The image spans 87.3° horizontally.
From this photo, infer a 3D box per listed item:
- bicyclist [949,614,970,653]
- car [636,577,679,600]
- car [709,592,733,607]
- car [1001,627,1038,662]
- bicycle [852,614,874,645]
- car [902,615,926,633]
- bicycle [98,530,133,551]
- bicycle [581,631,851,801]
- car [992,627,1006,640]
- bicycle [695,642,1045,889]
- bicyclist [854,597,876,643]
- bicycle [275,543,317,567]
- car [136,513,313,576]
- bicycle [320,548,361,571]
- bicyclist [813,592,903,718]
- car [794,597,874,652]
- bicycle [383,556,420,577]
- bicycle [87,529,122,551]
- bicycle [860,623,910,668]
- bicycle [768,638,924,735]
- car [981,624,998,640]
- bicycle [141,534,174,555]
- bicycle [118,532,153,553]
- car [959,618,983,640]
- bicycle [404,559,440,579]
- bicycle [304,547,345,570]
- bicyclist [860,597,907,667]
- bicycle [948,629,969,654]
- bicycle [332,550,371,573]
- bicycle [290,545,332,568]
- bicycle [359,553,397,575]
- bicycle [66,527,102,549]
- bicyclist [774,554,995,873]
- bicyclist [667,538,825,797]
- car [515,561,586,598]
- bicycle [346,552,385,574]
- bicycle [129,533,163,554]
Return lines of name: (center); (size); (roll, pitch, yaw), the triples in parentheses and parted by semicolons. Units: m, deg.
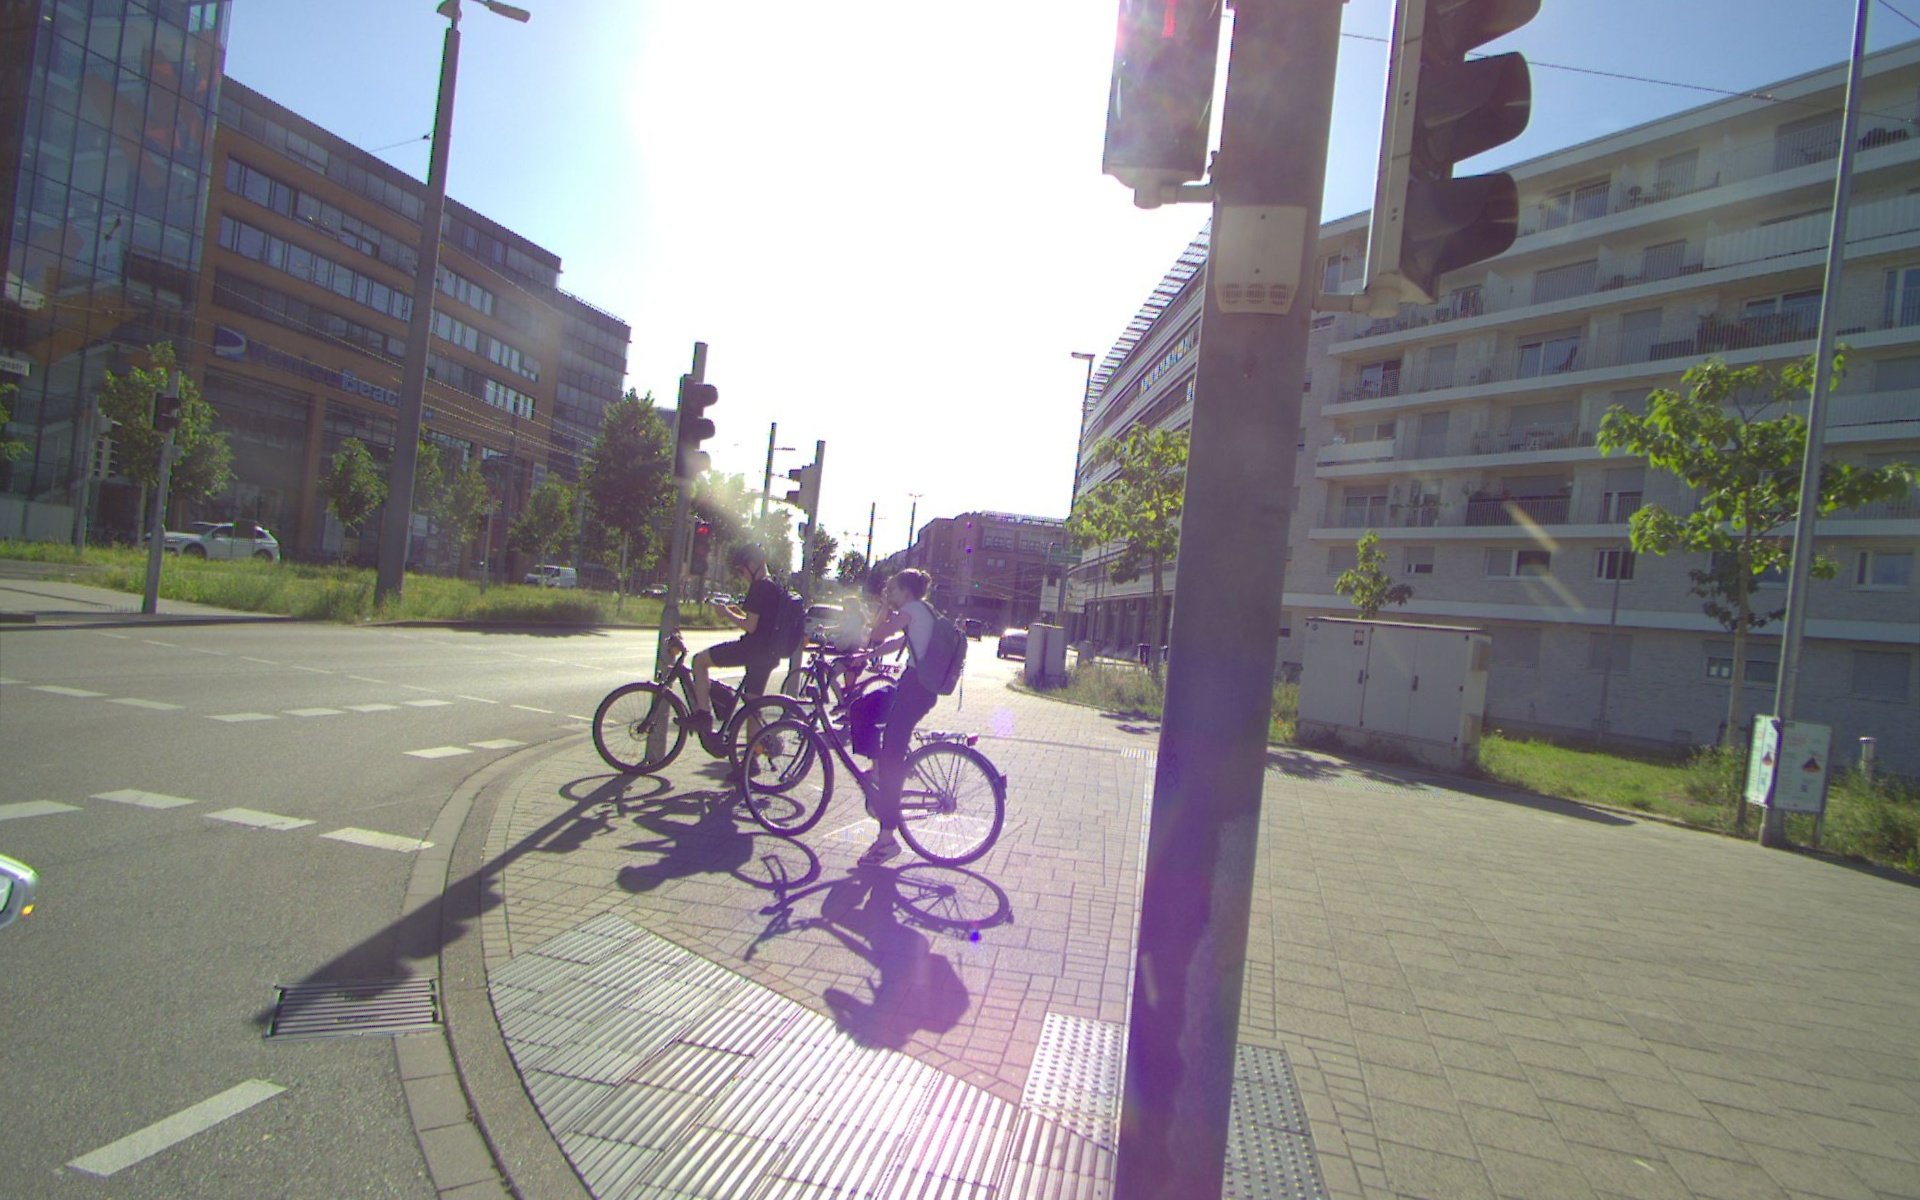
bicyclist: (-0.020, 1.631, 48.920); (0.639, 1.774, 1.046); (6, 1, 10)
car: (-28.048, -1.046, 93.510); (1.962, 1.701, 4.542); (7, -1, 8)
car: (-25.411, -0.077, 107.153); (1.966, 1.350, 4.783); (7, -1, -9)
car: (3.077, 2.288, 52.135); (1.694, 1.542, 4.402); (7, -1, 3)
bicycle: (-3.767, 1.130, 39.053); (0.677, 1.082, 2.695); (8, -1, -5)
car: (-4.134, 2.192, 91.647); (1.699, 1.466, 4.523); (6, -1, 2)
bicycle: (-40.621, -2.854, 48.391); (1.423, 0.829, 0.446); (8, 0, 12)
bicycle: (-1.862, 0.850, 7.726); (1.859, 1.051, 0.606); (5, 0, 12)
car: (5.750, 4.959, 148.892); (1.754, 1.723, 4.140); (8, -1, 5)
bicycle: (-0.573, 0.904, 6.037); (1.977, 1.118, 0.695); (4, 0, 30)
bicyclist: (-3.704, 0.759, 39.046); (0.609, 1.689, 1.019); (8, 0, -6)
bicycle: (-40.102, -2.706, 60.735); (2.139, 1.137, 0.754); (8, 0, 12)
car: (-27.947, -2.047, 38.539); (1.779, 1.671, 5.551); (6, -1, 13)
bicycle: (-39.117, -2.542, 63.519); (2.139, 1.137, 0.754); (8, 0, 12)
bicyclist: (-1.231, 0.660, 12.249); (0.812, 1.421, 0.590); (5, 1, 17)
car: (-4.019, 0.794, 32.674); (1.746, 1.419, 4.295); (9, -1, 2)
bicycle: (-37.956, -2.268, 68.397); (2.139, 1.137, 0.754); (8, 0, 12)
bicycle: (-40.668, -2.847, 47.812); (1.423, 0.829, 0.446); (8, 0, 12)
bicycle: (-1.978, 1.213, 26.780); (0.812, 1.049, 1.893); (8, -1, 9)
bicycle: (-1.379, 1.022, 12.228); (1.675, 0.966, 0.697); (5, 0, 18)
car: (3.794, 4.093, 127.540); (1.754, 1.723, 4.140); (8, -1, 5)
bicycle: (-40.044, -2.758, 50.188); (1.423, 0.829, 0.446); (8, 0, 12)
bicycle: (-40.279, -2.810, 49.152); (1.423, 0.829, 0.446); (8, 0, 12)
car: (1.023, 2.649, 92.238); (1.754, 1.723, 4.140); (8, -1, 5)
bicycle: (-37.490, -2.159, 70.157); (2.139, 1.137, 0.754); (8, 0, 12)
bicycle: (-39.557, -2.600, 62.621); (2.139, 1.137, 0.754); (8, 0, 12)
bicyclist: (-1.992, 0.845, 26.439); (0.794, 1.713, 1.052); (8, 0, 9)
bicycle: (-0.066, 2.018, 48.872); (0.639, 1.123, 1.760); (6, -2, 9)
bicycle: (-38.906, -2.476, 64.323); (2.139, 1.137, 0.754); (8, 0, 12)
bicycle: (-39.826, -2.667, 61.738); (2.139, 1.137, 0.754); (8, 0, 12)
bicycle: (-38.490, -2.372, 66.506); (2.139, 1.137, 0.754); (8, 0, 12)
bicycle: (-40.865, -2.903, 46.912); (1.423, 0.829, 0.446); (8, 0, 12)
bicyclist: (-0.449, 0.626, 5.964); (0.986, 1.675, 0.594); (7, 1, 30)
bicyclist: (-1.617, 0.497, 7.674); (0.889, 1.821, 0.550); (5, 1, 12)
car: (-29.114, -1.418, 71.740); (2.185, 2.037, 5.260); (7, -1, 9)
bicycle: (-38.490, -2.396, 65.111); (2.139, 1.137, 0.754); (8, 0, 12)
bicycle: (-40.182, -2.783, 49.679); (1.423, 0.829, 0.446); (8, 0, 12)
